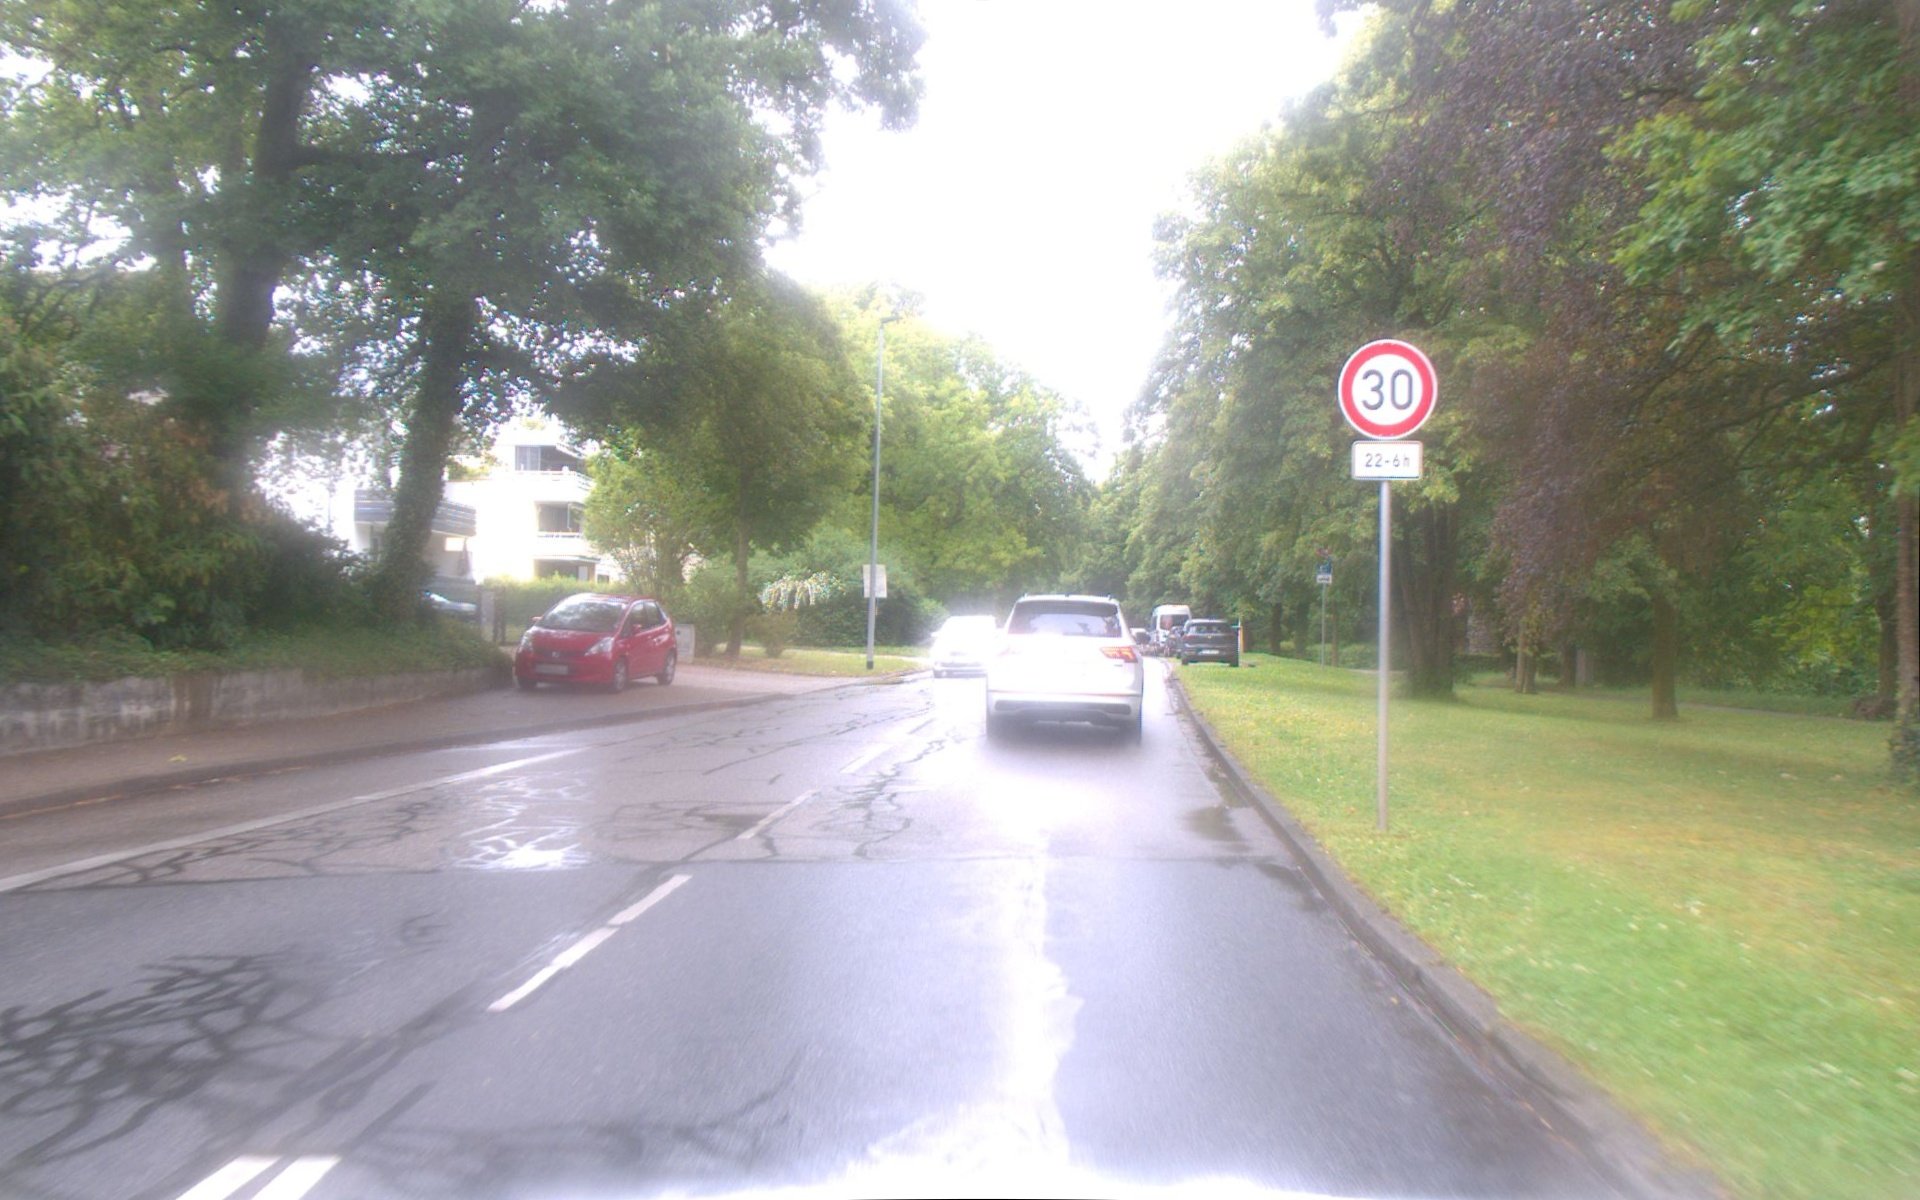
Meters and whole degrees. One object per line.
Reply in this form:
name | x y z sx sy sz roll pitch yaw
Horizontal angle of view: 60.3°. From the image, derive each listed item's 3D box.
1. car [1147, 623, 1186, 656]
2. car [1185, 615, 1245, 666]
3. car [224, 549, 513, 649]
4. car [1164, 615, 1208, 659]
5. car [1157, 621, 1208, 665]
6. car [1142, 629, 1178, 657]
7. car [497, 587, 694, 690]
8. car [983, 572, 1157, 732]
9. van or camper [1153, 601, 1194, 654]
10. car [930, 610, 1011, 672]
car | 10.104 1.905 80.810 1.825 1.538 3.727 0 -1 8
car | 7.717 1.234 50.349 1.664 1.487 4.220 -1 -1 7
car | -14.189 -0.012 40.086 5.624 2.073 3.480 3 0 2
car | 9.357 1.526 68.616 1.743 1.750 4.264 0 -1 8
car | 8.224 1.572 60.966 1.706 1.477 4.003 4 -1 8
car | 11.591 2.472 96.044 1.767 1.566 4.268 -1 -2 3
car | -6.010 0.603 27.755 1.951 1.542 4.003 2 0 7
car | 1.362 0.576 20.106 1.865 1.715 4.203 1 0 4
van or camper | 11.552 1.465 89.322 1.973 2.628 8.441 2 -1 8
car | 0.307 1.003 41.310 1.664 1.435 4.011 -1 -1 5
